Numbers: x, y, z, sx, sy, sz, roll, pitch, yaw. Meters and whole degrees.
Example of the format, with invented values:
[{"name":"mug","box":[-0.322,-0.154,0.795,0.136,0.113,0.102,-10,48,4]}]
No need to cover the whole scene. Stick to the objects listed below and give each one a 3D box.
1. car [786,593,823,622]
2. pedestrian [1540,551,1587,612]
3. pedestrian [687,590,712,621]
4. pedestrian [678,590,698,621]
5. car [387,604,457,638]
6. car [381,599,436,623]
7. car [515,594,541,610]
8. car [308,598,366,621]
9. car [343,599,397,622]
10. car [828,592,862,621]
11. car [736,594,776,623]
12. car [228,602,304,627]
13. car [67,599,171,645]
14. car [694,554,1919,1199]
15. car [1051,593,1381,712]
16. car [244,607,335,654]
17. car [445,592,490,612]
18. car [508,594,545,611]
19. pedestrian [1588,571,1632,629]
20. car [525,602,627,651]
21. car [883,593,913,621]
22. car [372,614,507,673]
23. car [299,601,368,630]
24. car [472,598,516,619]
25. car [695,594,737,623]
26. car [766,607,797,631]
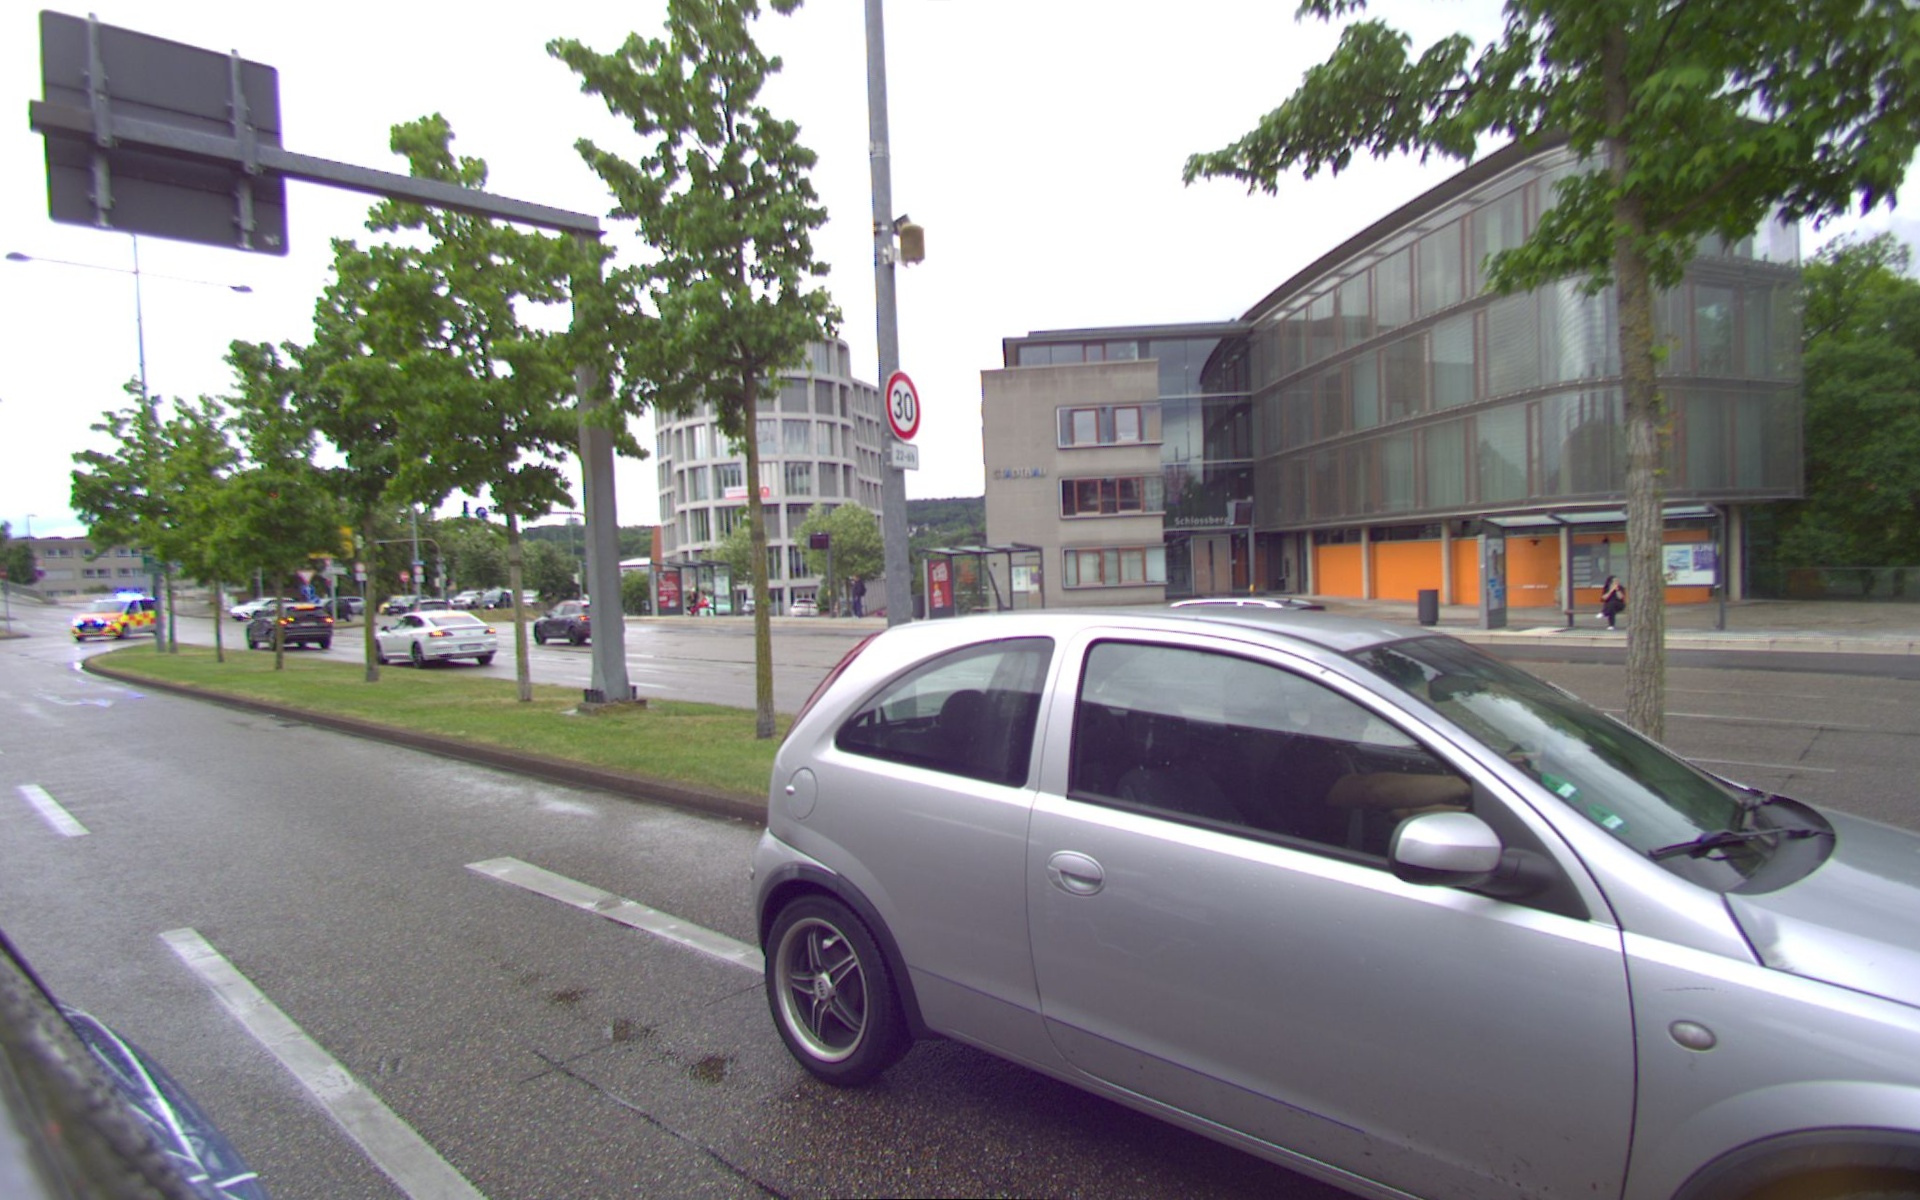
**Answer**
[{"name":"car","box":[-9.706,0.455,63.358,1.849,1.714,4.160,-1,0,-3]},{"name":"pedestrian","box":[18.346,-0.565,30.766,0.773,1.769,0.828,-5,1,-22]},{"name":"pedestrian","box":[-12.914,0.261,50.150,0.969,1.501,0.736,0,0,-38]},{"name":"pedestrian","box":[-13.668,0.268,50.835,0.722,1.501,0.735,0,0,-40]},{"name":"car","box":[-25.701,0.970,48.277,1.858,1.566,4.004,0,0,-45]},{"name":"car","box":[-40.381,0.760,74.151,1.850,1.715,4.159,-1,0,-2]},{"name":"car","box":[-46.007,0.221,107.915,1.846,1.646,4.168,-1,0,-13]},{"name":"car","box":[-47.810,0.711,77.728,1.851,1.646,4.156,-1,0,1]},{"name":"car","box":[-45.116,0.804,77.492,1.850,1.715,4.159,-1,0,-2]},{"name":"car","box":[-7.224,0.401,63.747,1.849,1.715,4.160,-1,0,-3]},{"name":"car","box":[-12.718,0.498,63.208,1.849,1.715,4.160,-1,0,-3]},{"name":"car","box":[-47.052,0.967,68.691,1.798,1.571,4.025,-1,0,18]},{"name":"car","box":[-39.532,0.976,47.731,1.966,2.029,5.077,-1,0,-17]},{"name":"car","box":[1.085,0.677,2.684,3.718,1.477,1.677,-1,0,41]},{"name":"car","box":[3.581,0.661,14.797,1.675,1.477,4.454,0,0,-45]},{"name":"car","box":[-24.297,1.064,36.619,4.167,1.566,1.982,-1,0,45]},{"name":"car","box":[-42.217,0.170,86.828,1.850,1.646,4.302,-1,0,-1]},{"name":"car","box":[-42.320,0.230,98.858,1.850,1.646,4.158,-1,0,-1]},{"name":"pedestrian","box":[15.008,-0.009,23.365,0.659,1.309,0.720,0,0,-43]},{"name":"car","box":[-13.372,0.886,35.145,1.858,1.566,4.004,-1,0,-45]},{"name":"car","box":[-3.879,0.412,63.590,1.849,1.715,4.160,-1,0,-3]},{"name":"car","box":[-13.746,1.079,26.627,4.167,1.363,1.982,-1,0,45]},{"name":"car","box":[-39.050,0.928,63.195,1.849,1.715,4.160,-1,0,-3]},{"name":"car","box":[-38.565,0.701,83.819,1.850,1.646,4.159,-1,0,-2]},{"name":"car","box":[-15.197,0.522,63.195,1.849,1.715,4.160,-1,0,-3]},{"name":"car","box":[-13.635,1.422,77.398,1.849,1.715,4.160,-1,0,-3]}]
